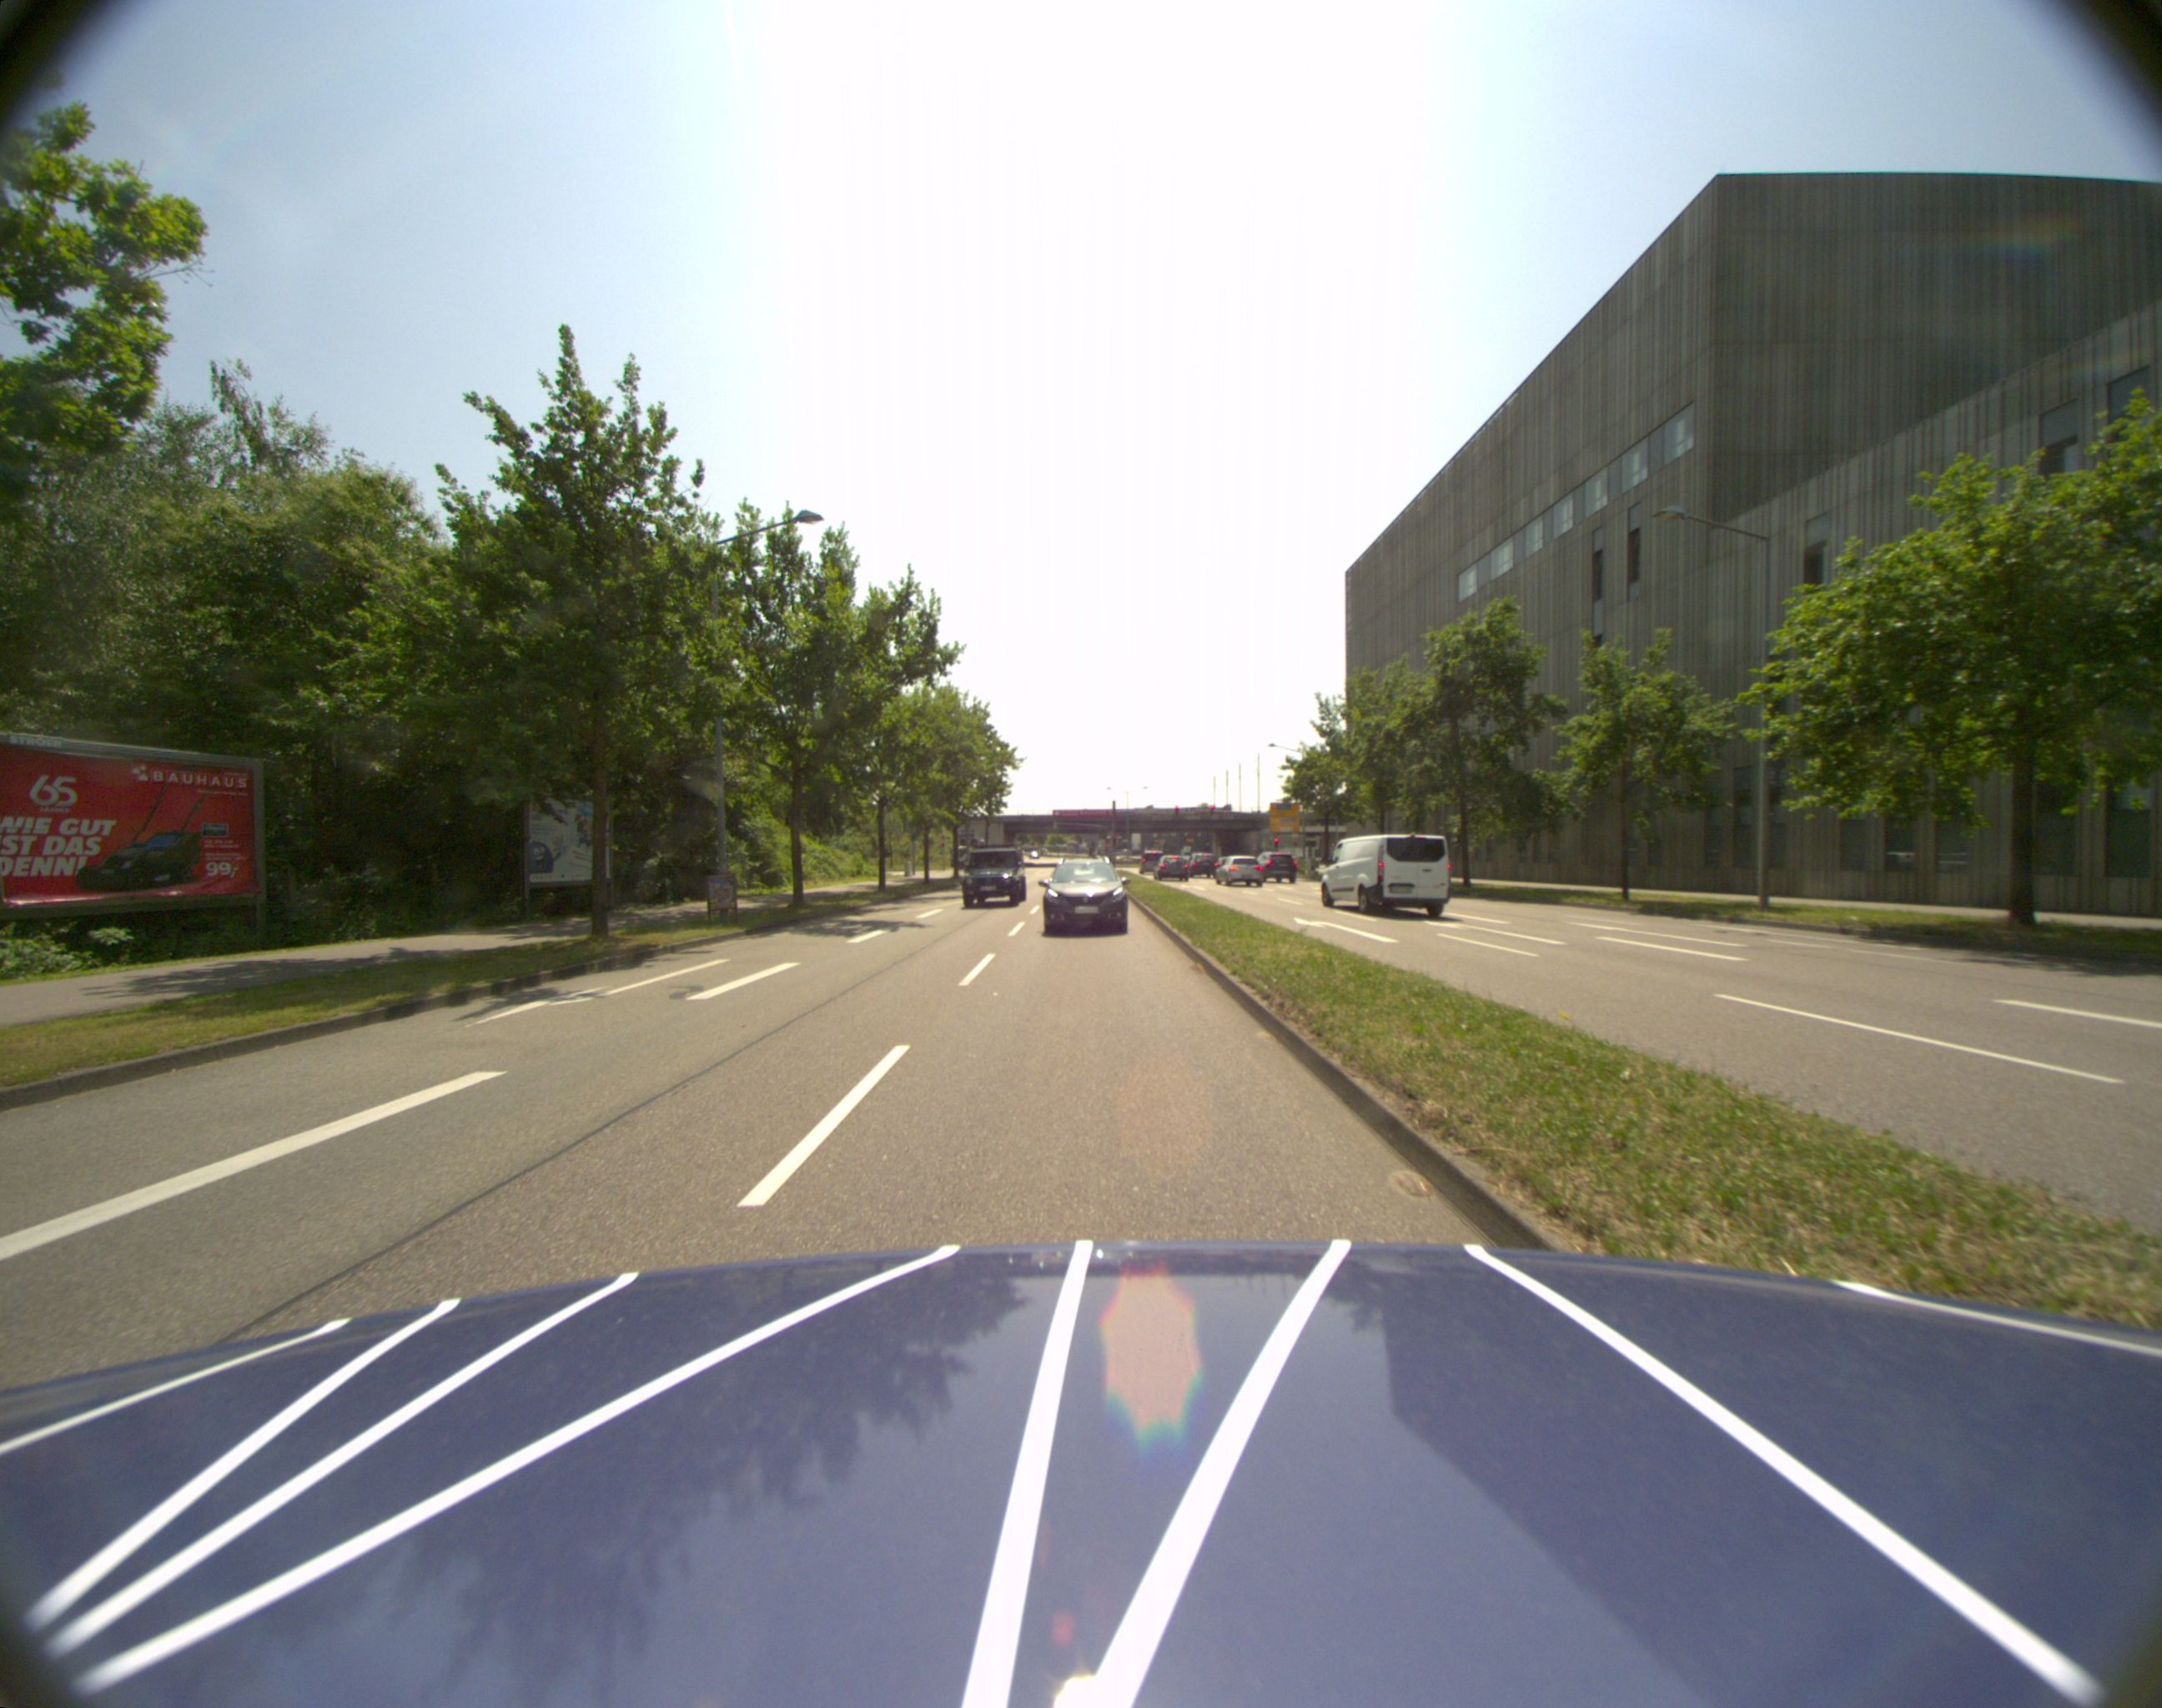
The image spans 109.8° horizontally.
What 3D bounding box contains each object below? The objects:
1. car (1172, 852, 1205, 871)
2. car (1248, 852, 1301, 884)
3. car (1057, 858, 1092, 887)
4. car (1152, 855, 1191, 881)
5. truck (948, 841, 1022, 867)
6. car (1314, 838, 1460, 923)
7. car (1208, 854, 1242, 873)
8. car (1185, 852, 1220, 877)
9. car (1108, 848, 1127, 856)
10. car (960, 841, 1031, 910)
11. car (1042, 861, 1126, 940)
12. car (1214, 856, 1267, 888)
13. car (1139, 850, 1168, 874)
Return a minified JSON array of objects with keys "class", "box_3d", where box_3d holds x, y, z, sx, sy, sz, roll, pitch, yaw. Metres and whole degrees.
[{"class":"car","box_3d":[8.334,0.559,59.137,1.815,1.437,4.249,0,0,-1]},{"class":"car","box_3d":[11.306,0.764,44.758,1.815,1.736,4.645,1,0,-1]},{"class":"car","box_3d":[-0.415,0.949,41.573,1.817,1.456,3.999,-1,0,-2]},{"class":"car","box_3d":[5.272,0.786,44.659,1.815,1.458,4.057,1,0,0]},{"class":"truck","box_3d":[-11.733,-0.020,93.283,8.529,2.899,2.881,-2,1,-29]},{"class":"car","box_3d":[7.940,0.613,20.312,1.914,1.981,4.897,1,0,0]},{"class":"car","box_3d":[11.268,0.757,59.733,1.815,1.409,4.249,-1,0,-1]},{"class":"car","box_3d":[8.256,0.667,51.928,1.807,1.653,4.573,1,0,3]},{"class":"car","box_3d":[8.214,-0.394,170.947,3.991,1.674,2.003,0,0,18]},{"class":"car","box_3d":[-2.828,0.655,26.000,1.841,2.141,4.557,-1,1,0]},{"class":"car","box_3d":[0.172,0.919,17.001,1.619,1.503,4.459,-1,0,3]},{"class":"car","box_3d":[7.911,0.848,38.036,1.770,1.452,4.145,1,0,1]},{"class":"car","box_3d":[5.598,0.581,59.024,1.815,1.790,4.714,1,0,1]}]
